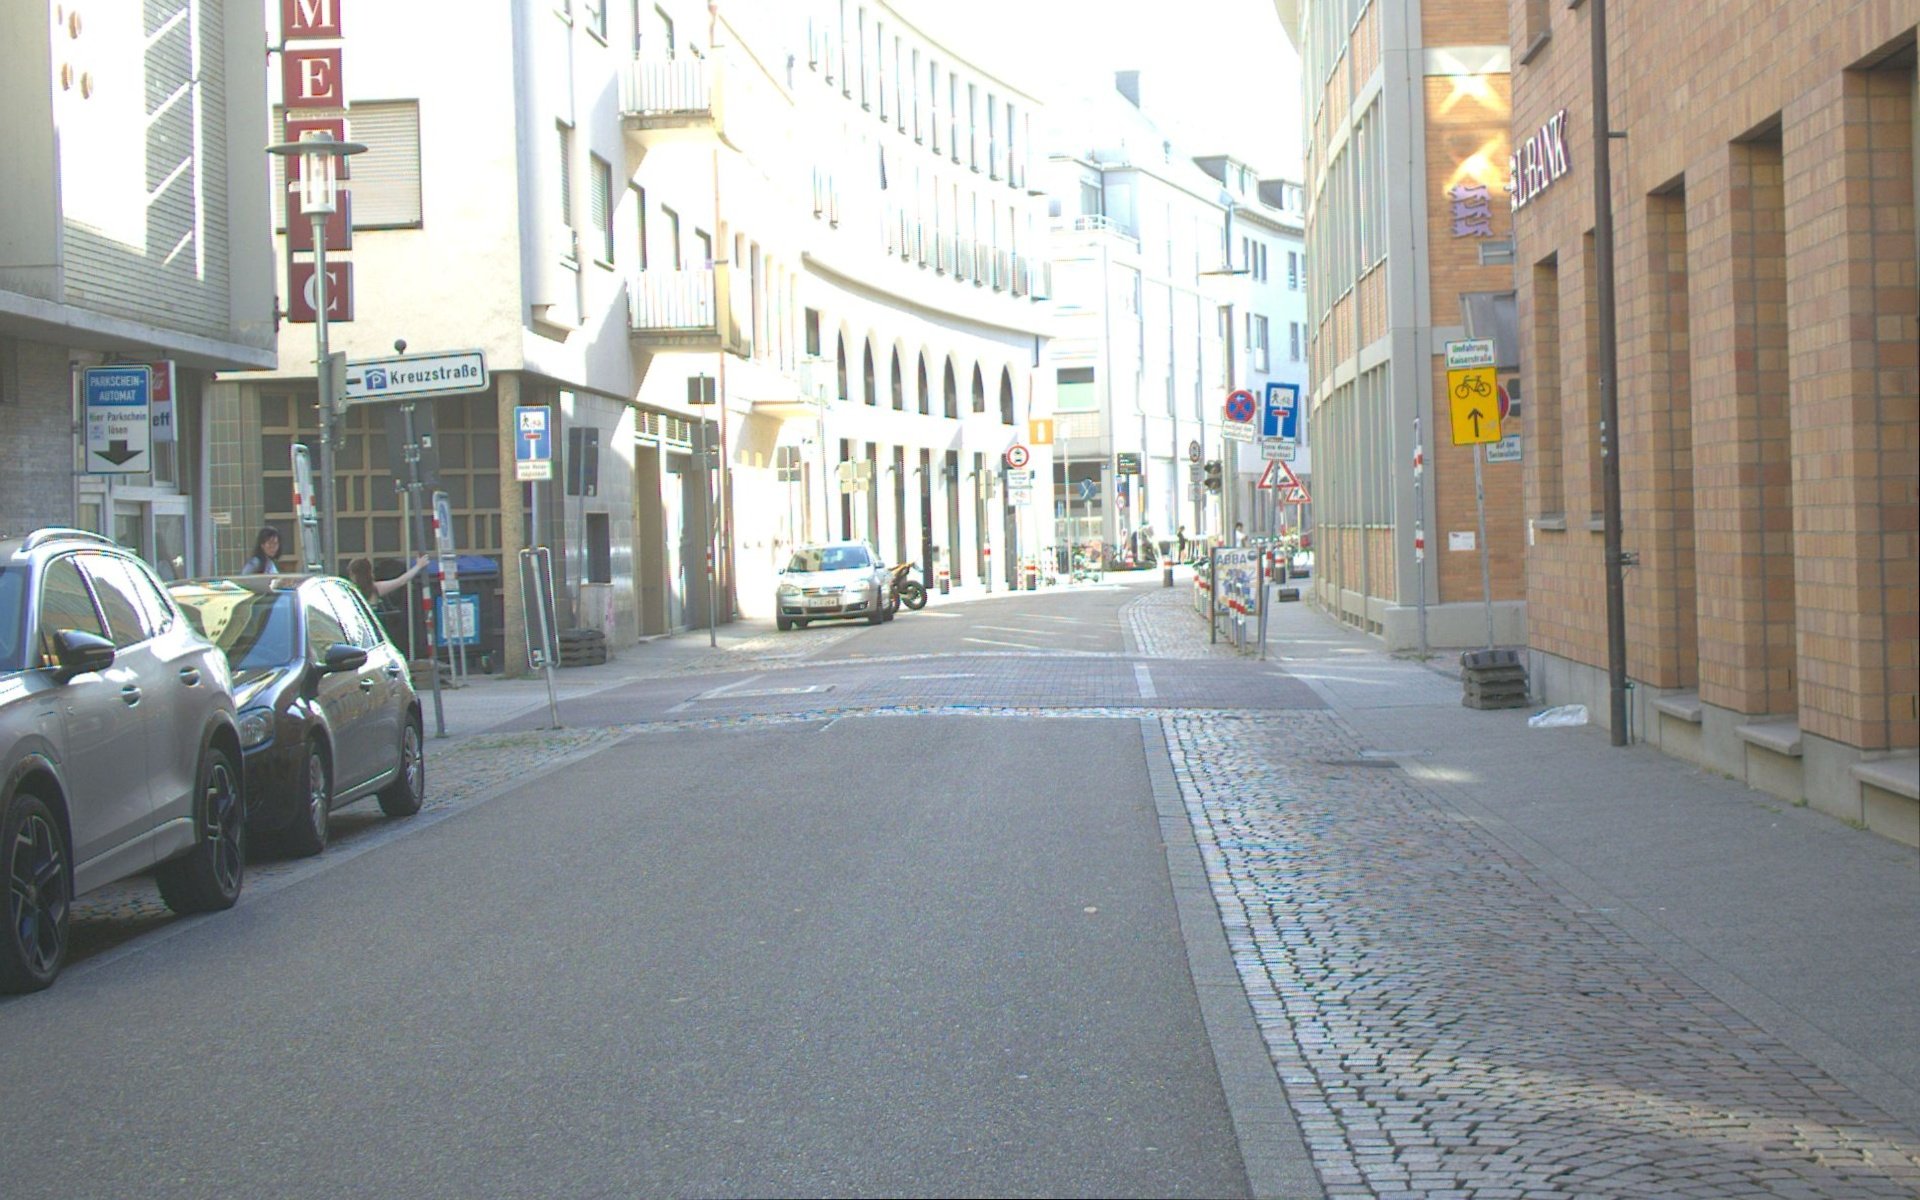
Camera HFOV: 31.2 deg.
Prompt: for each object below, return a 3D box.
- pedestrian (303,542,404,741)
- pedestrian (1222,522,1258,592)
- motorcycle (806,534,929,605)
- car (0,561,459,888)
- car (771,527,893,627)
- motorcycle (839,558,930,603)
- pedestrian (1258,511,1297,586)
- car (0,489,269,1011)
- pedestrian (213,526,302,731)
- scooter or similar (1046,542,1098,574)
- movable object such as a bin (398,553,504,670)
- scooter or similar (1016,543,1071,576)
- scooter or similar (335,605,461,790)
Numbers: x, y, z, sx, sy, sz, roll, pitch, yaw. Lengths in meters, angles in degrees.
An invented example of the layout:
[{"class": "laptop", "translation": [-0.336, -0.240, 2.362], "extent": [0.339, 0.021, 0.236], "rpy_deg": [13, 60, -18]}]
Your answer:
[{"class": "pedestrian", "translation": [-5.052, 0.336, 28.646], "extent": [0.645, 1.620, 0.457], "rpy_deg": [-3, 2, -39]}, {"class": "pedestrian", "translation": [7.476, -1.147, 91.799], "extent": [0.659, 1.862, 0.786], "rpy_deg": [0, 0, -28]}, {"class": "motorcycle", "translation": [-1.888, -0.623, 70.095], "extent": [2.391, 1.312, 0.862], "rpy_deg": [-3, 1, 3]}, {"class": "car", "translation": [-3.995, 0.596, 18.889], "extent": [1.648, 1.455, 3.999], "rpy_deg": [-4, 1, 2]}, {"class": "car", "translation": [-2.157, -0.418, 58.751], "extent": [1.737, 1.600, 3.532], "rpy_deg": [-1, 1, 3]}, {"class": "motorcycle", "translation": [-1.454, -0.377, 66.283], "extent": [1.691, 0.856, 0.594], "rpy_deg": [0, 0, 7]}, {"class": "pedestrian", "translation": [7.979, -1.287, 86.339], "extent": [0.659, 1.862, 0.761], "rpy_deg": [0, 0, -28]}, {"class": "car", "translation": [-4.119, 0.488, 13.130], "extent": [1.890, 1.736, 4.391], "rpy_deg": [-2, 2, 2]}, {"class": "pedestrian", "translation": [-6.029, 0.238, 29.517], "extent": [0.448, 1.732, 0.552], "rpy_deg": [-1, 1, 25]}, {"class": "scooter or similar", "translation": [3.411, -1.286, 104.652], "extent": [0.526, 0.925, 2.223], "rpy_deg": [0, 2, 33]}, {"class": "movable object such as a bin", "translation": [-6.198, 0.132, 41.884], "extent": [0.932, 1.415, 0.884], "rpy_deg": [0, 1, -44]}, {"class": "scooter or similar", "translation": [2.460, -1.208, 101.293], "extent": [0.526, 0.925, 2.223], "rpy_deg": [0, 2, 33]}, {"class": "scooter or similar", "translation": [-3.841, 0.661, 23.465], "extent": [0.412, 1.194, 1.121], "rpy_deg": [-7, 2, -26]}]
